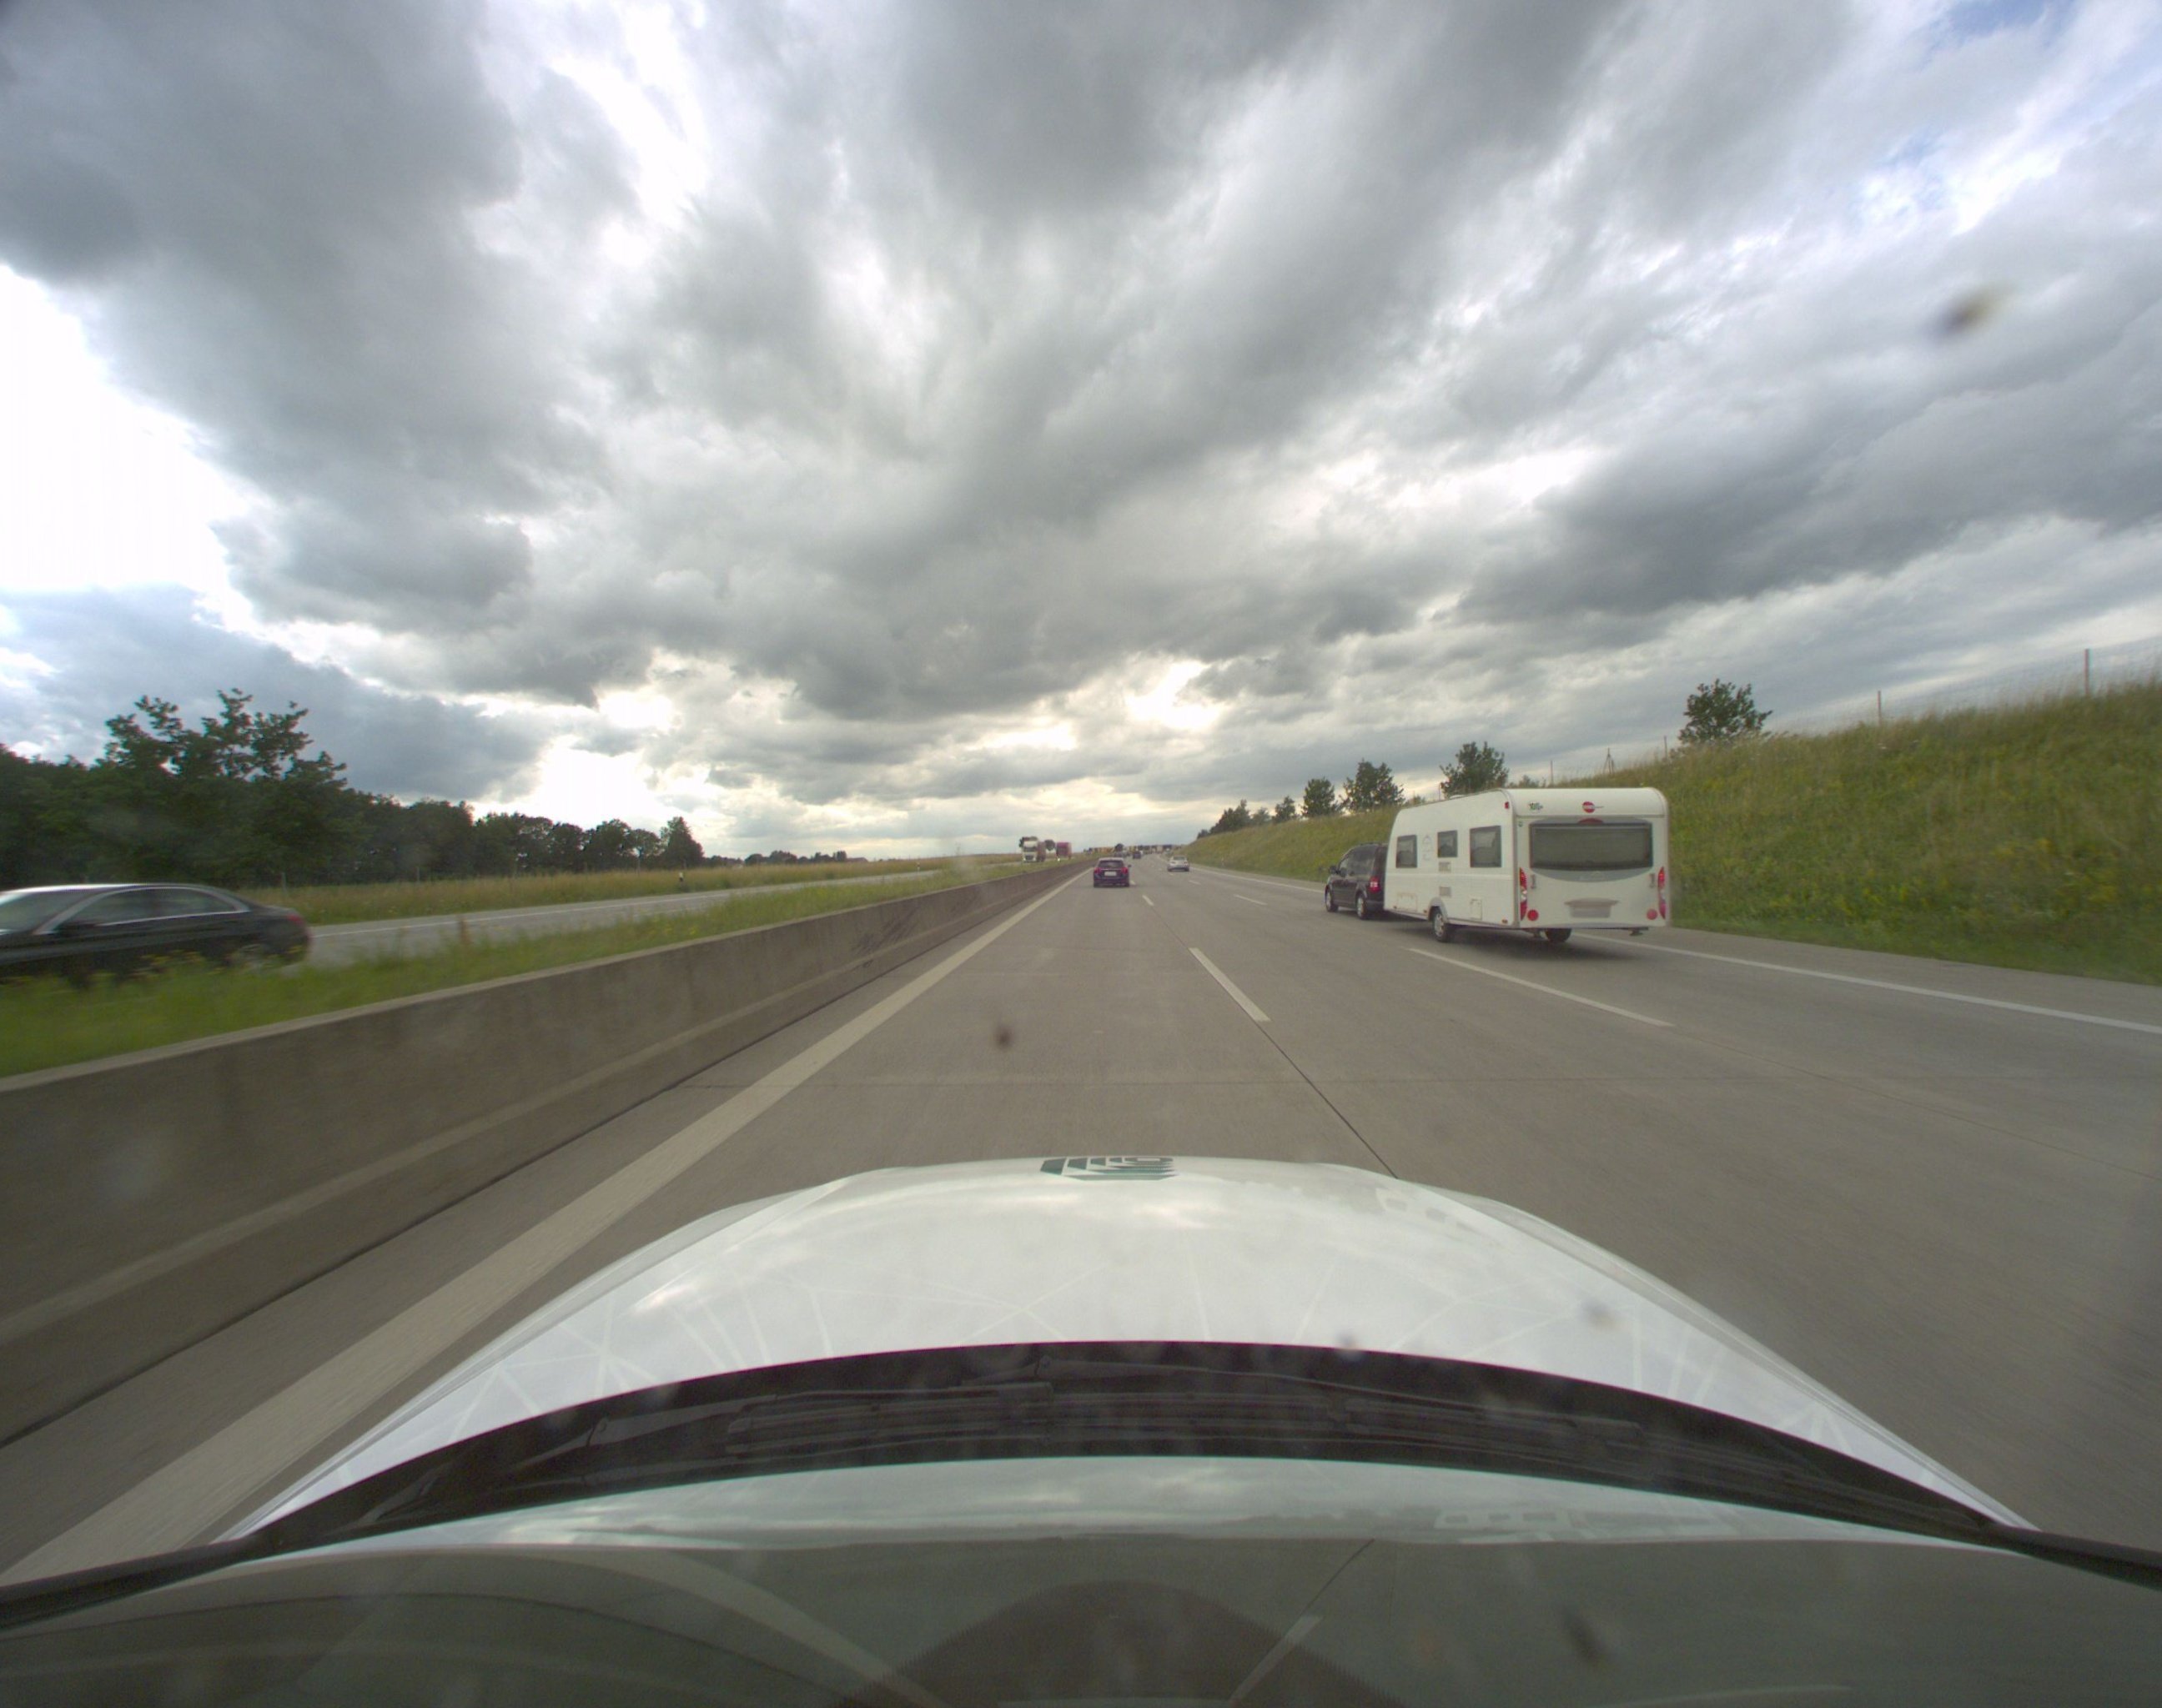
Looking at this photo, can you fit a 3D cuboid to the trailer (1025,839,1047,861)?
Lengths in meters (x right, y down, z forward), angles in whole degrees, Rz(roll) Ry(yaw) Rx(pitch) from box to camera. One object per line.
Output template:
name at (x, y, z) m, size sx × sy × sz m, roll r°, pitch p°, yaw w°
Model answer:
trailer at (-8.766, -0.814, 160.738) m, size 2.828 × 4.038 × 13.919 m, roll -1°, pitch 0°, yaw 3°

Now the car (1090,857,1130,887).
car at (1.512, 0.861, 40.952) m, size 1.766 × 1.413 × 4.006 m, roll -1°, pitch 0°, yaw 6°

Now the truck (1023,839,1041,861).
truck at (-9.186, -0.729, 153.470) m, size 2.828 × 4.038 × 5.515 m, roll -1°, pitch 0°, yaw 3°

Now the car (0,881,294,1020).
car at (-11.979, 1.053, 9.429) m, size 1.635 × 1.373 × 4.101 m, roll 0°, pitch -1°, yaw 2°

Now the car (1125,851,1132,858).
car at (15.041, 0.152, 258.788) m, size 1.985 × 2.014 × 4.003 m, roll 0°, pitch -1°, yaw 3°

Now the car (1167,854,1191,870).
car at (8.962, 0.764, 74.702) m, size 1.783 × 1.403 × 4.221 m, roll -1°, pitch 0°, yaw 0°

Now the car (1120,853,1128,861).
car at (10.873, 0.659, 207.663) m, size 1.985 × 2.014 × 4.003 m, roll 0°, pitch -1°, yaw 3°

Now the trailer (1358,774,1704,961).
trailer at (7.344, 0.196, 14.594) m, size 2.599 × 2.534 × 6.723 m, roll -1°, pitch 0°, yaw 1°

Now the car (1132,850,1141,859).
car at (12.482, 0.132, 182.408) m, size 1.985 × 2.014 × 4.003 m, roll 0°, pitch -1°, yaw 3°

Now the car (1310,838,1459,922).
car at (7.345, 0.573, 20.347) m, size 1.932 × 1.809 × 5.033 m, roll -1°, pitch 0°, yaw 1°

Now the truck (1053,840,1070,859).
truck at (-4.075, -0.948, 174.151) m, size 2.805 × 4.038 × 10.577 m, roll -1°, pitch 0°, yaw 3°

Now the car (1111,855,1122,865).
car at (6.954, 1.198, 157.698) m, size 2.038 × 2.014 × 4.003 m, roll 0°, pitch -1°, yaw 3°
